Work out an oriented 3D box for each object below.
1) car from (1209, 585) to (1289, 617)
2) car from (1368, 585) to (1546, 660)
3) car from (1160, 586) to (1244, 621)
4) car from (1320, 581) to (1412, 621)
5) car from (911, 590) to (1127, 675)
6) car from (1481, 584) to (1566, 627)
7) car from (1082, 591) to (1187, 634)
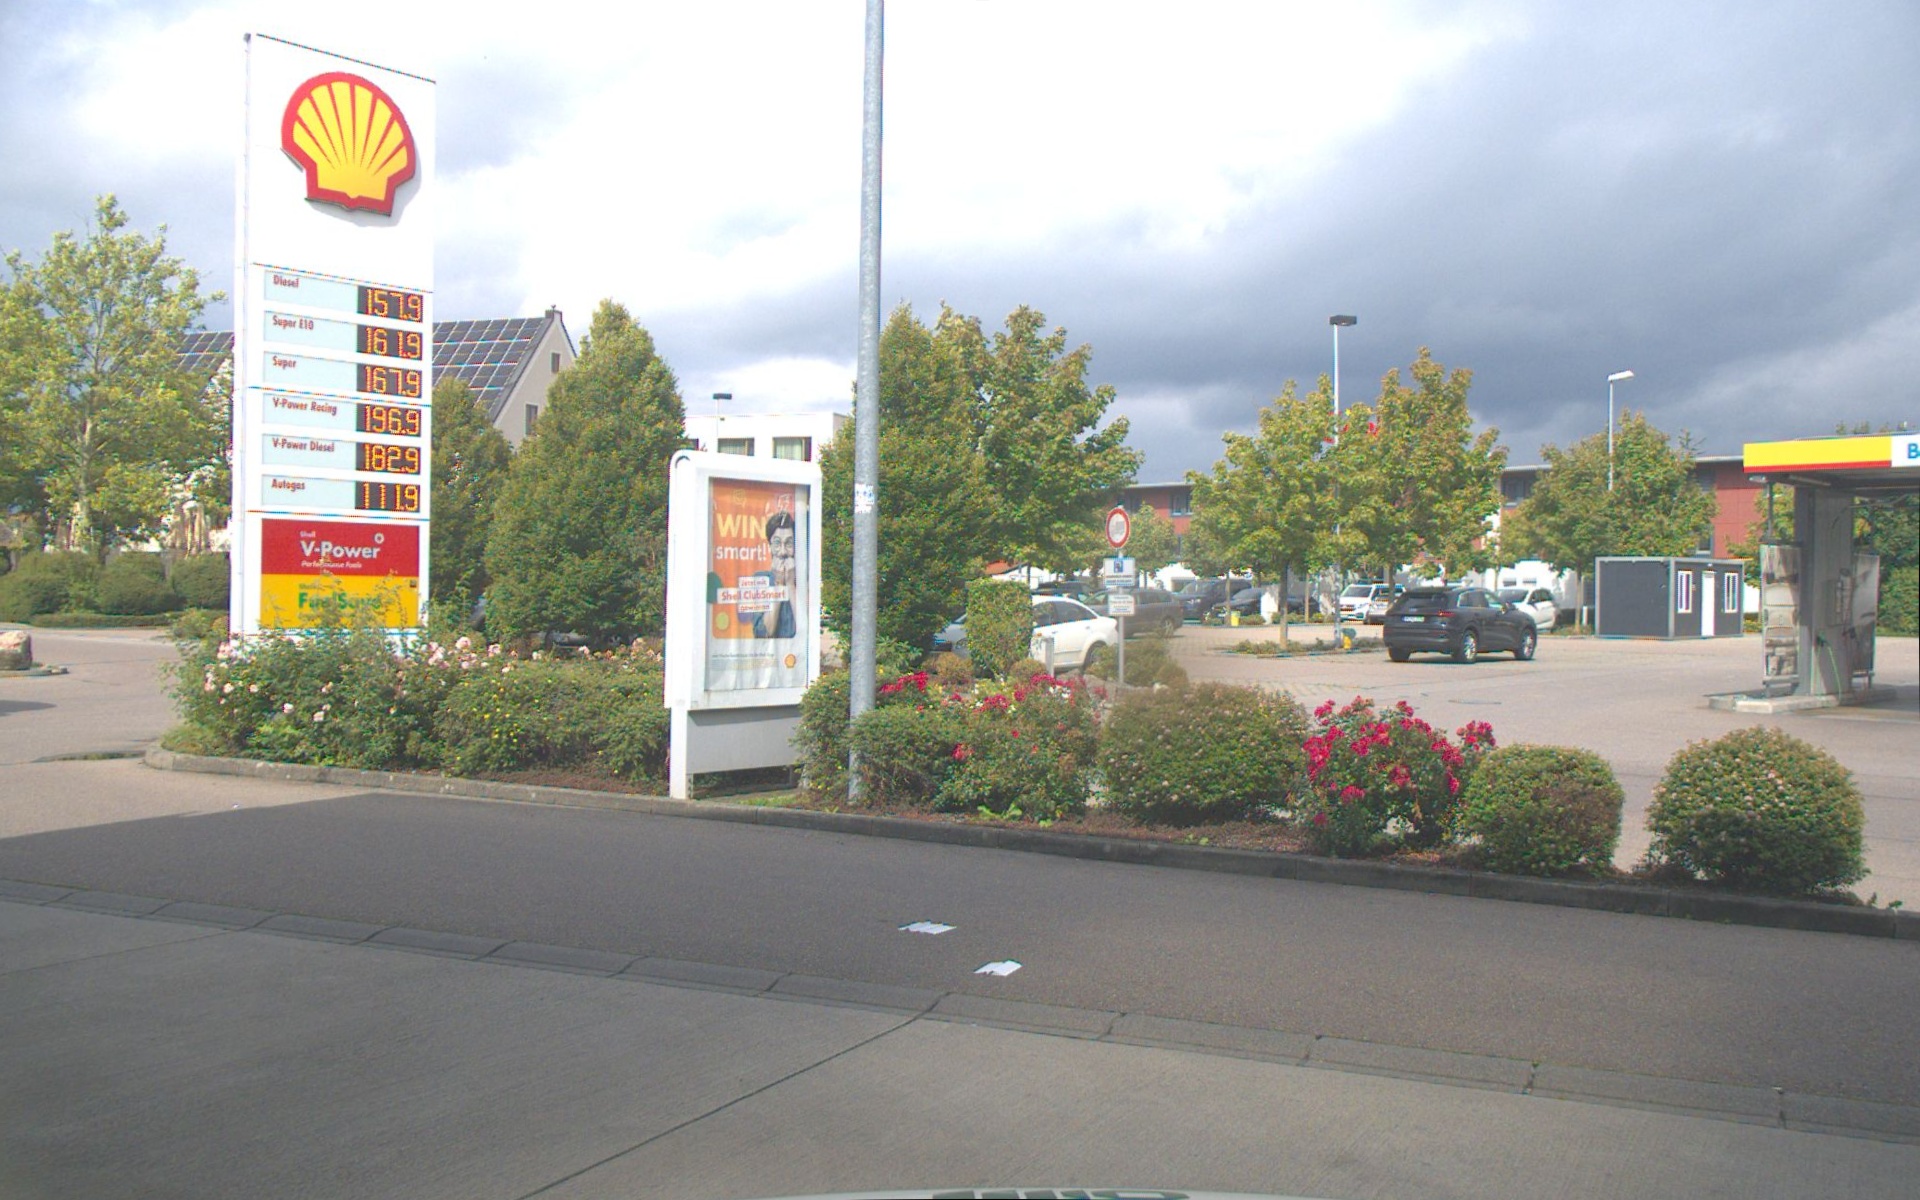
[{"bbox_3d":[11.412,0.050,65.213,3.393,1.199,1.462,1,0,-45],"label":"car"},{"bbox_3d":[11.131,0.494,36.896,4.467,1.575,1.856,1,0,-44],"label":"car"},{"bbox_3d":[9.811,0.153,66.935,3.364,1.343,1.719,1,0,-45],"label":"car"},{"bbox_3d":[19.915,0.048,80.949,4.839,1.865,2.150,1,0,-44],"label":"car"},{"bbox_3d":[1.133,0.581,29.939,1.348,1.428,4.312,1,-1,45],"label":"car"},{"bbox_3d":[18.007,0.181,52.809,3.080,1.330,1.346,1,-1,-45],"label":"car"},{"bbox_3d":[5.278,0.374,49.795,3.203,1.249,1.481,1,0,-45],"label":"car"}]
